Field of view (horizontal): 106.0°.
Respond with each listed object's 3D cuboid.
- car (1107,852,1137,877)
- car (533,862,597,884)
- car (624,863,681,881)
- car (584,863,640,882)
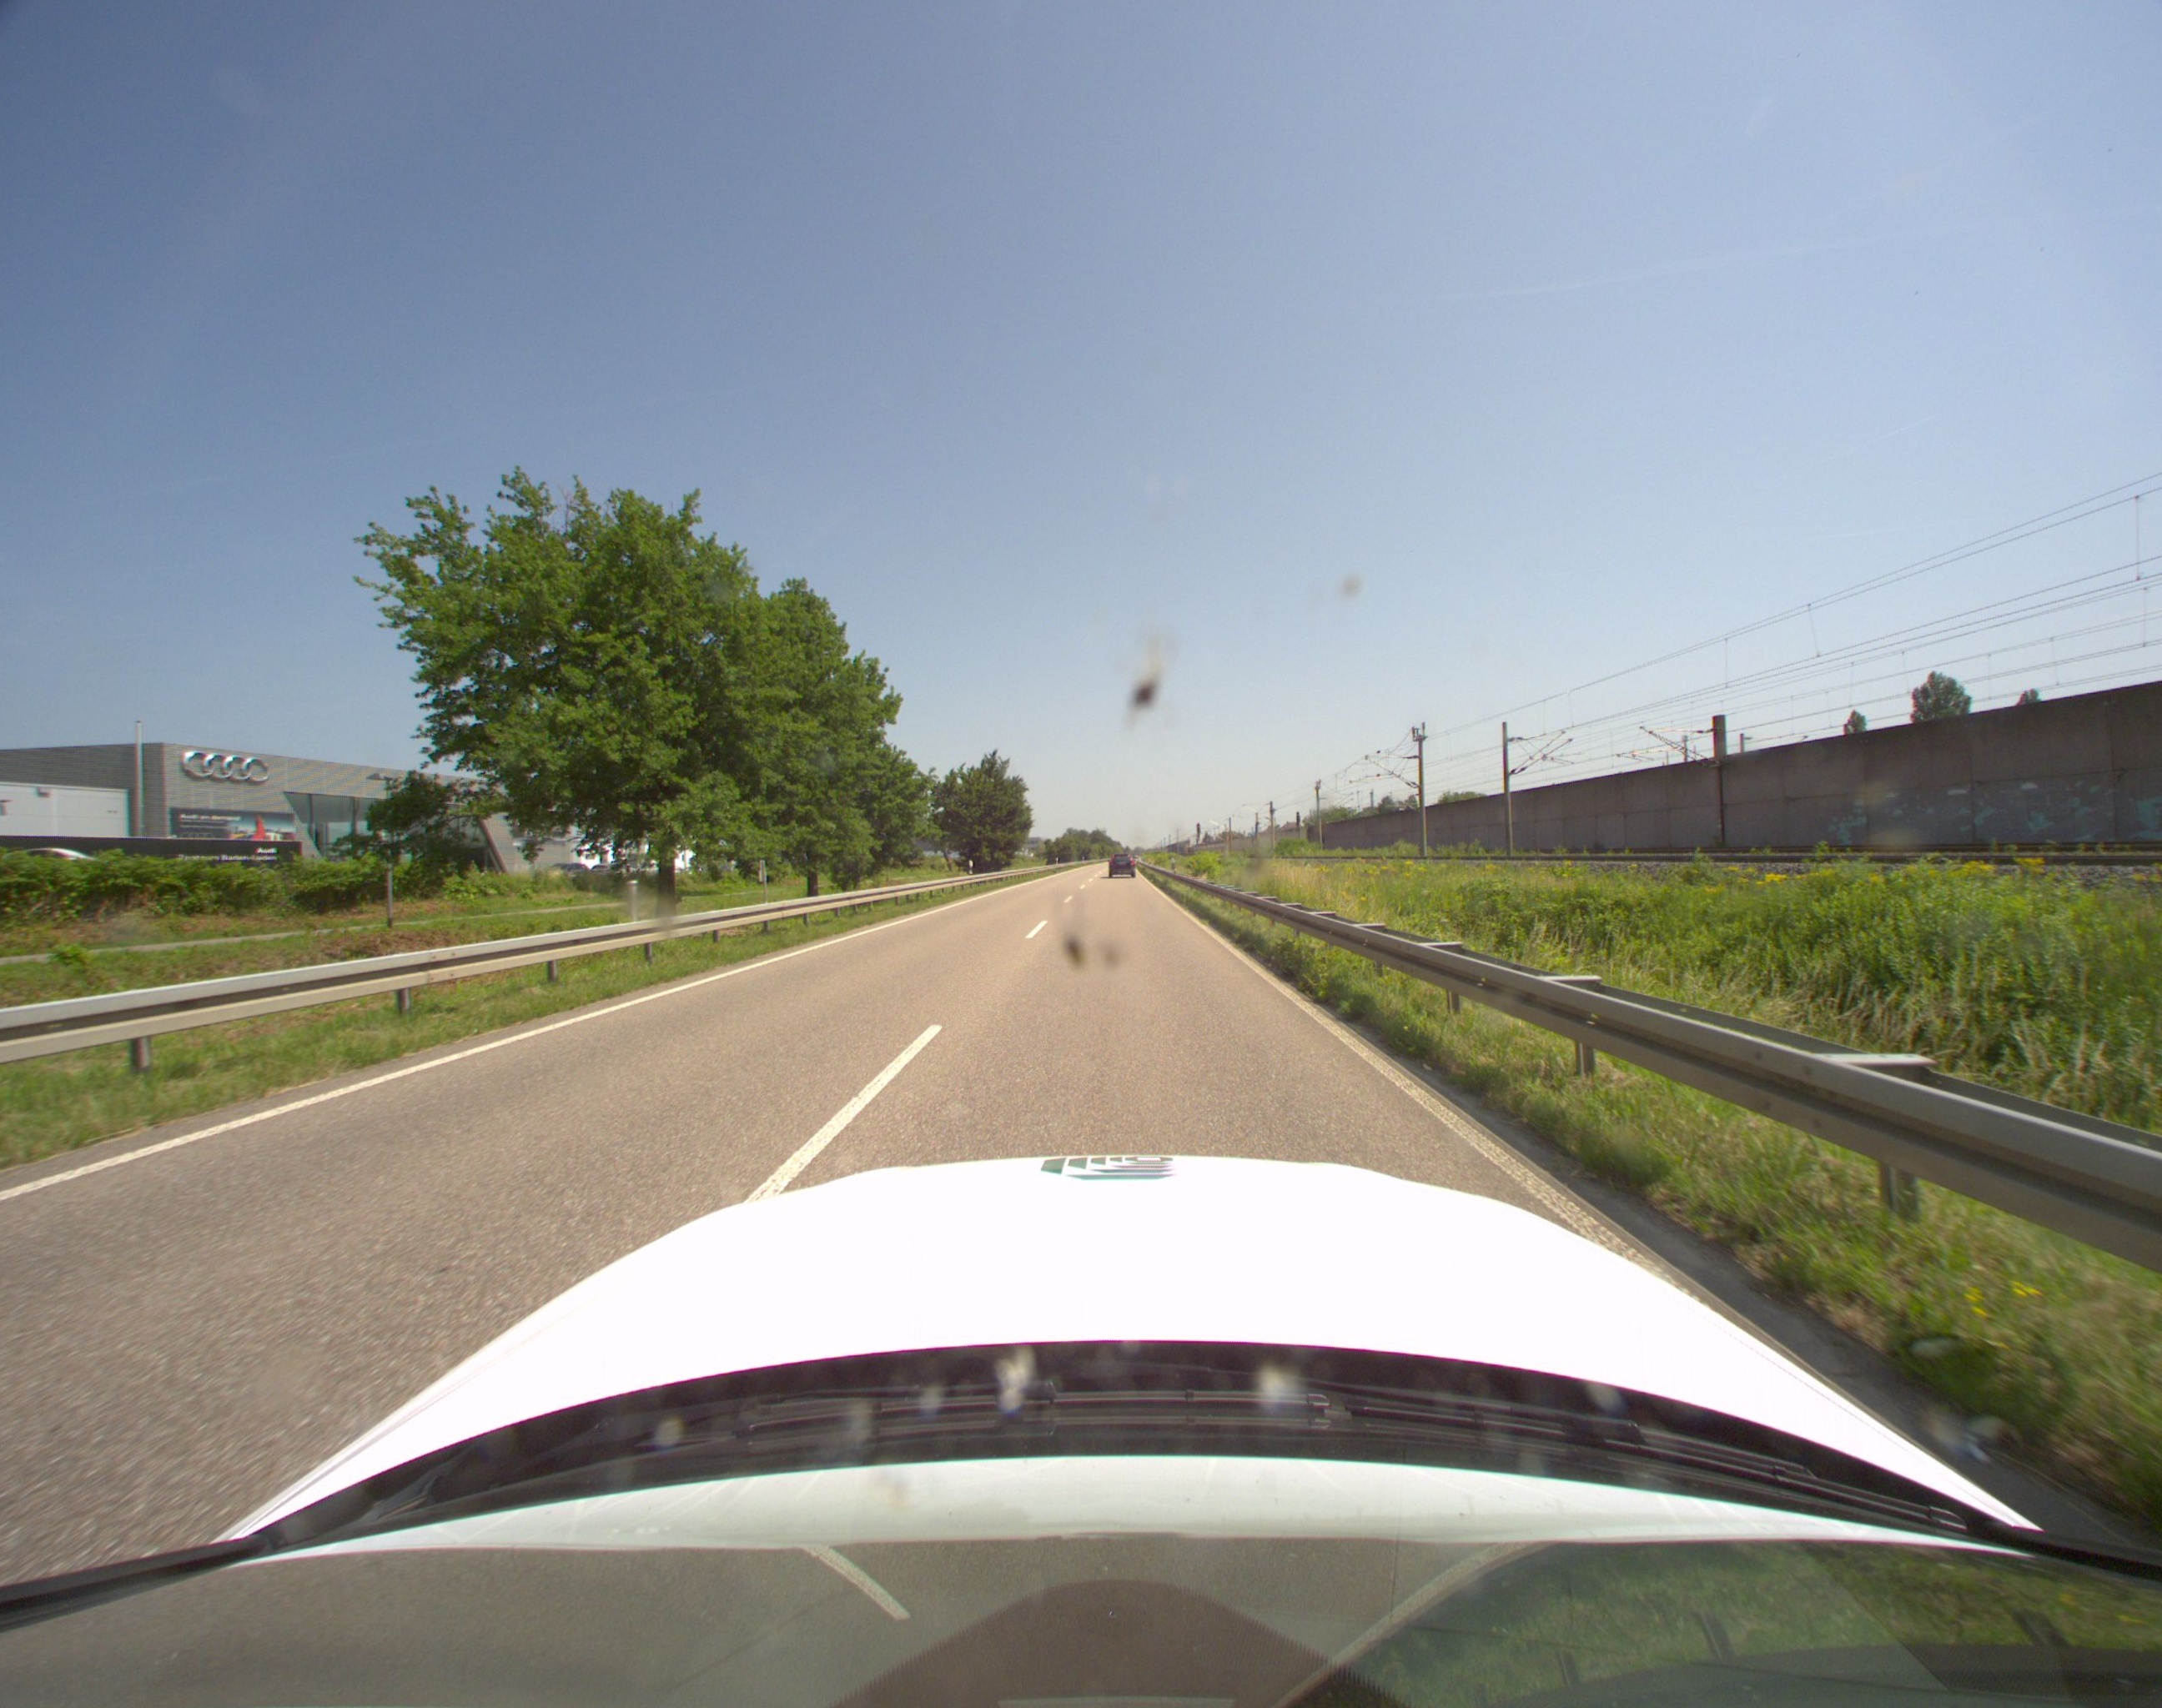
[{"bbox_3d":[2.893,0.751,57.974,1.986,1.700,4.001,-1,-1,2],"label":"car"},{"bbox_3d":[-40.158,1.471,63.514,1.740,1.537,4.669,-3,0,3],"label":"car"},{"bbox_3d":[-39.306,1.625,74.713,4.217,1.437,1.622,-3,-1,-4],"label":"car"},{"bbox_3d":[-39.497,1.556,68.668,1.740,1.437,4.669,-3,0,3],"label":"car"}]
